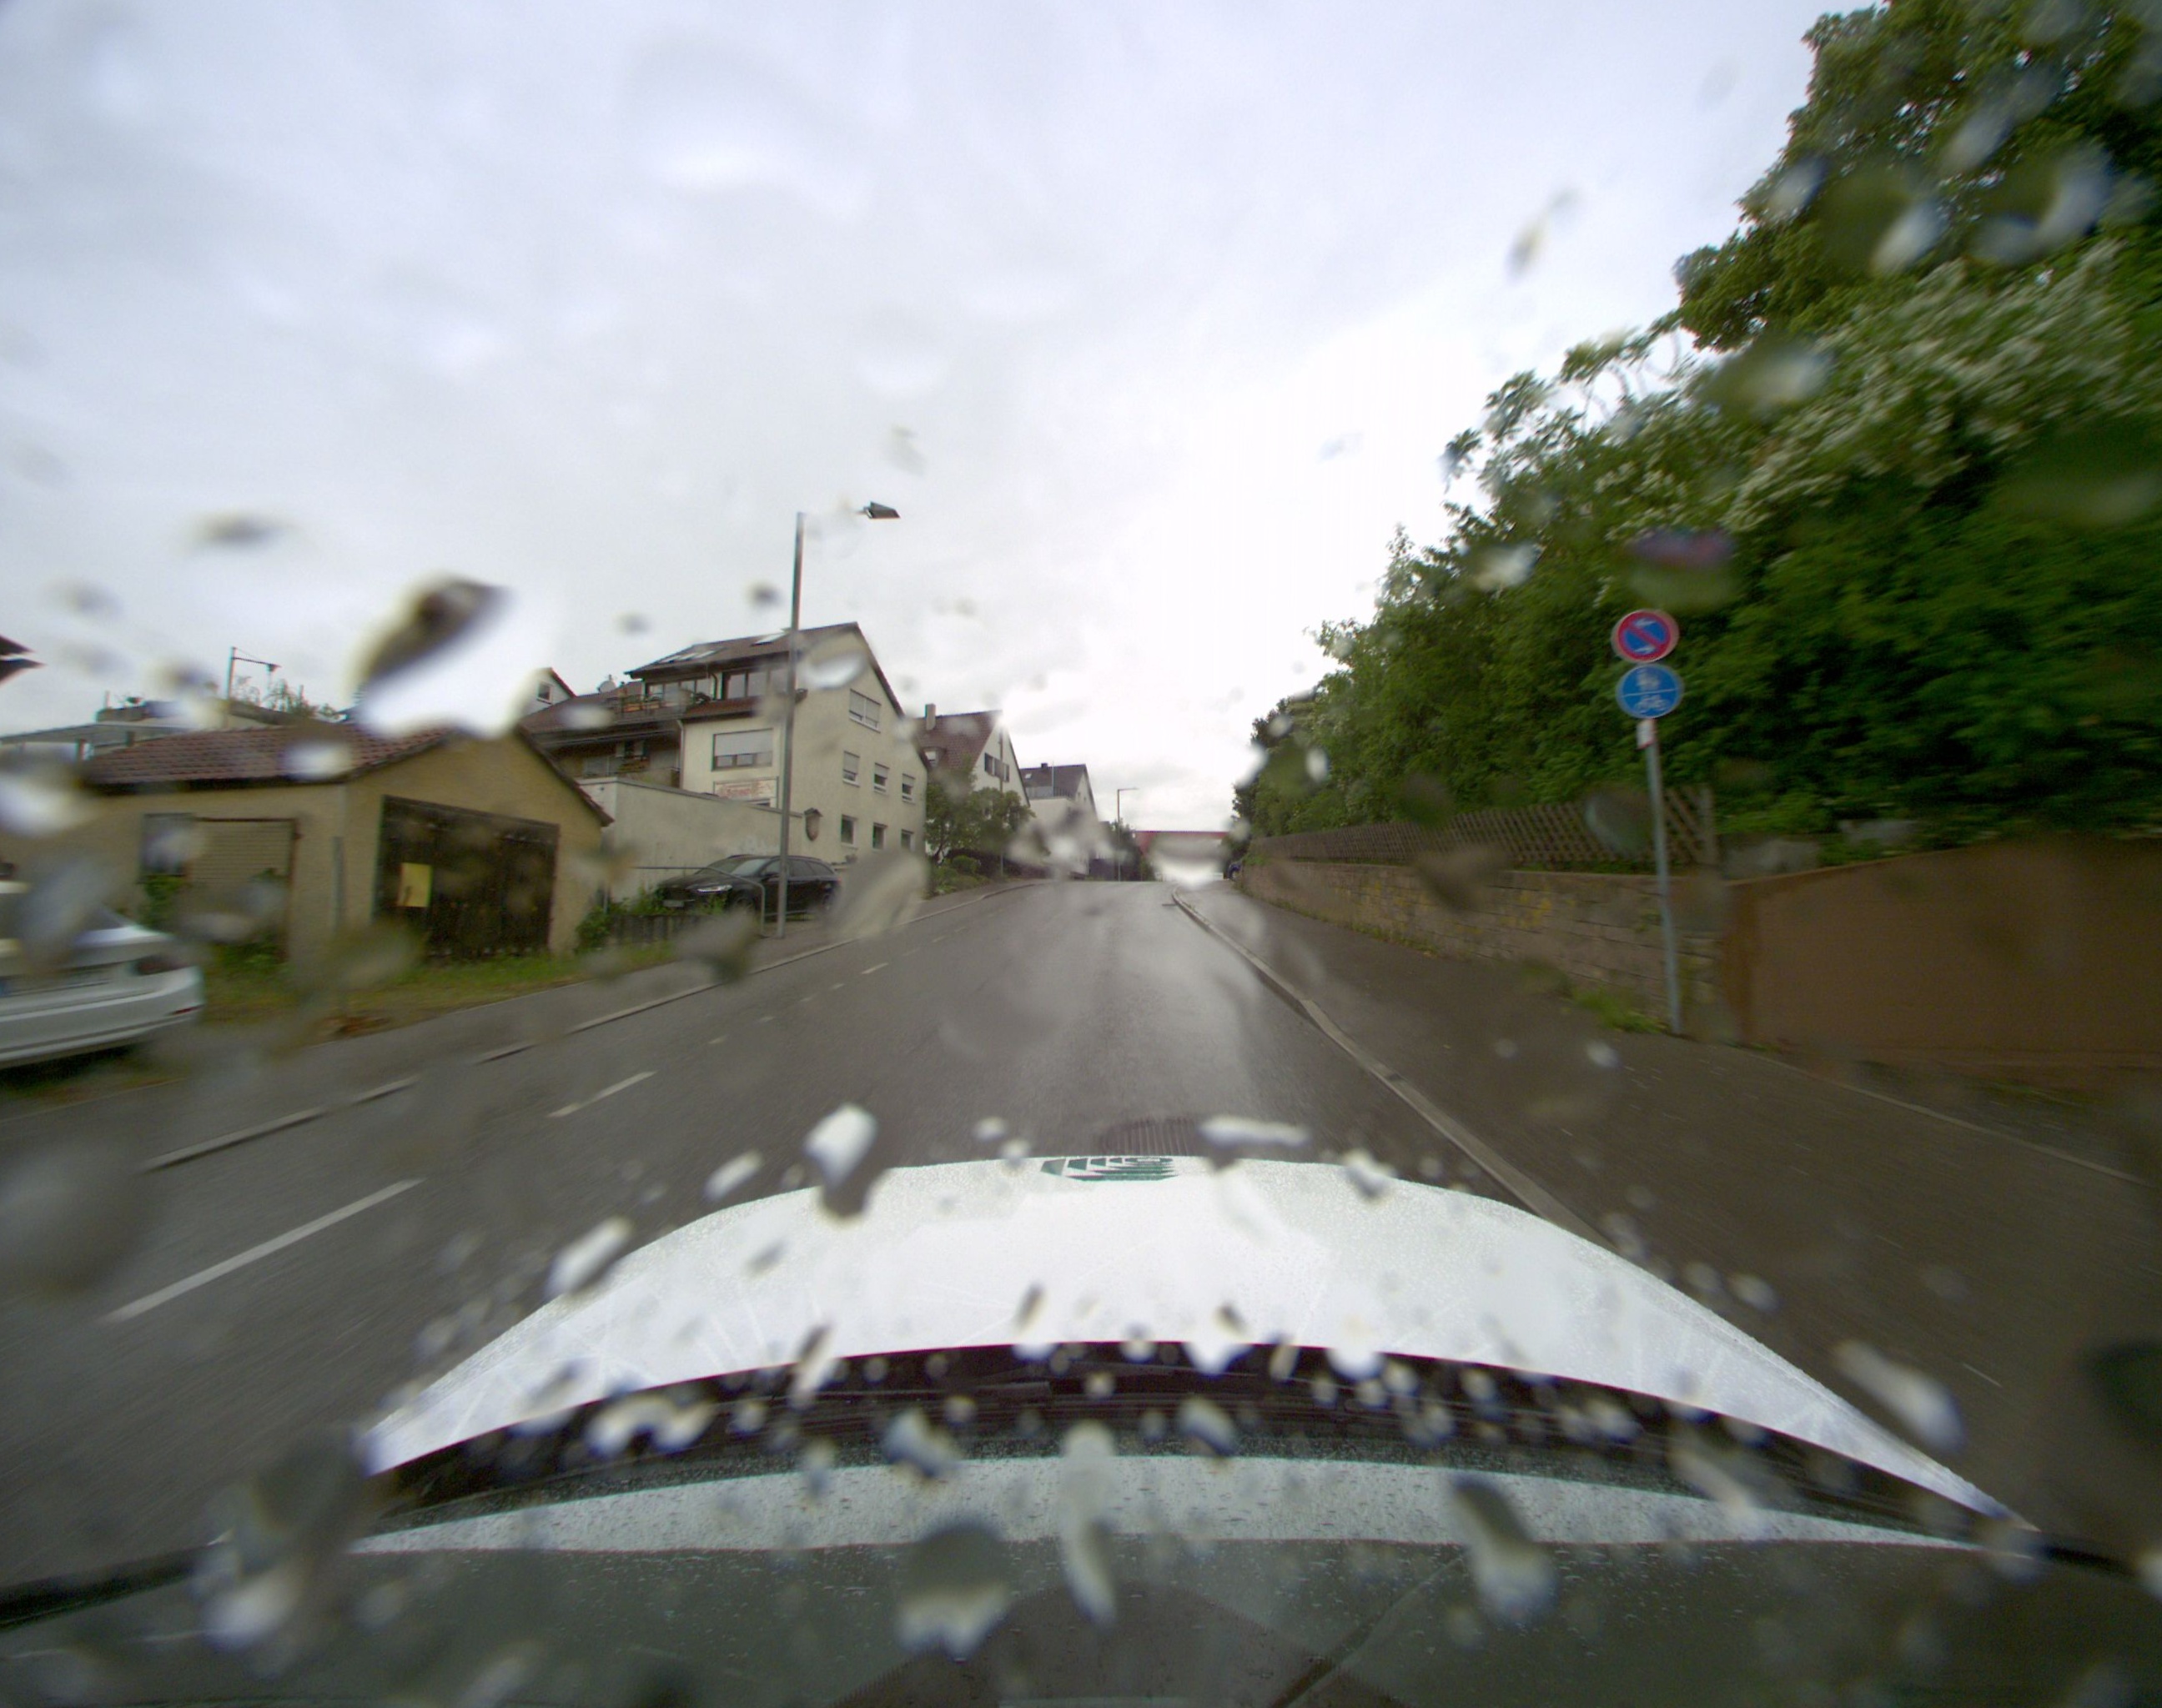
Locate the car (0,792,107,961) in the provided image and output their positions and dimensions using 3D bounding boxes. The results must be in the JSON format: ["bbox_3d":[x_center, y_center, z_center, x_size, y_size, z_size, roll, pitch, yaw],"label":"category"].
[{"bbox_3d":[-15.535,0.412,10.360,4.566,2.052,2.066,-4,-5,12],"label":"car"}]

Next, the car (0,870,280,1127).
[{"bbox_3d":[-8.493,0.931,5.798,4.464,1.505,1.908,-2,-1,14],"label":"car"}]

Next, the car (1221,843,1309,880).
[{"bbox_3d":[9.720,0.443,43.354,1.865,1.606,4.291,-6,0,-36],"label":"car"}]

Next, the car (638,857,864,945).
[{"bbox_3d":[-7.054,0.933,18.140,1.959,1.659,4.983,-2,0,16],"label":"car"}]
